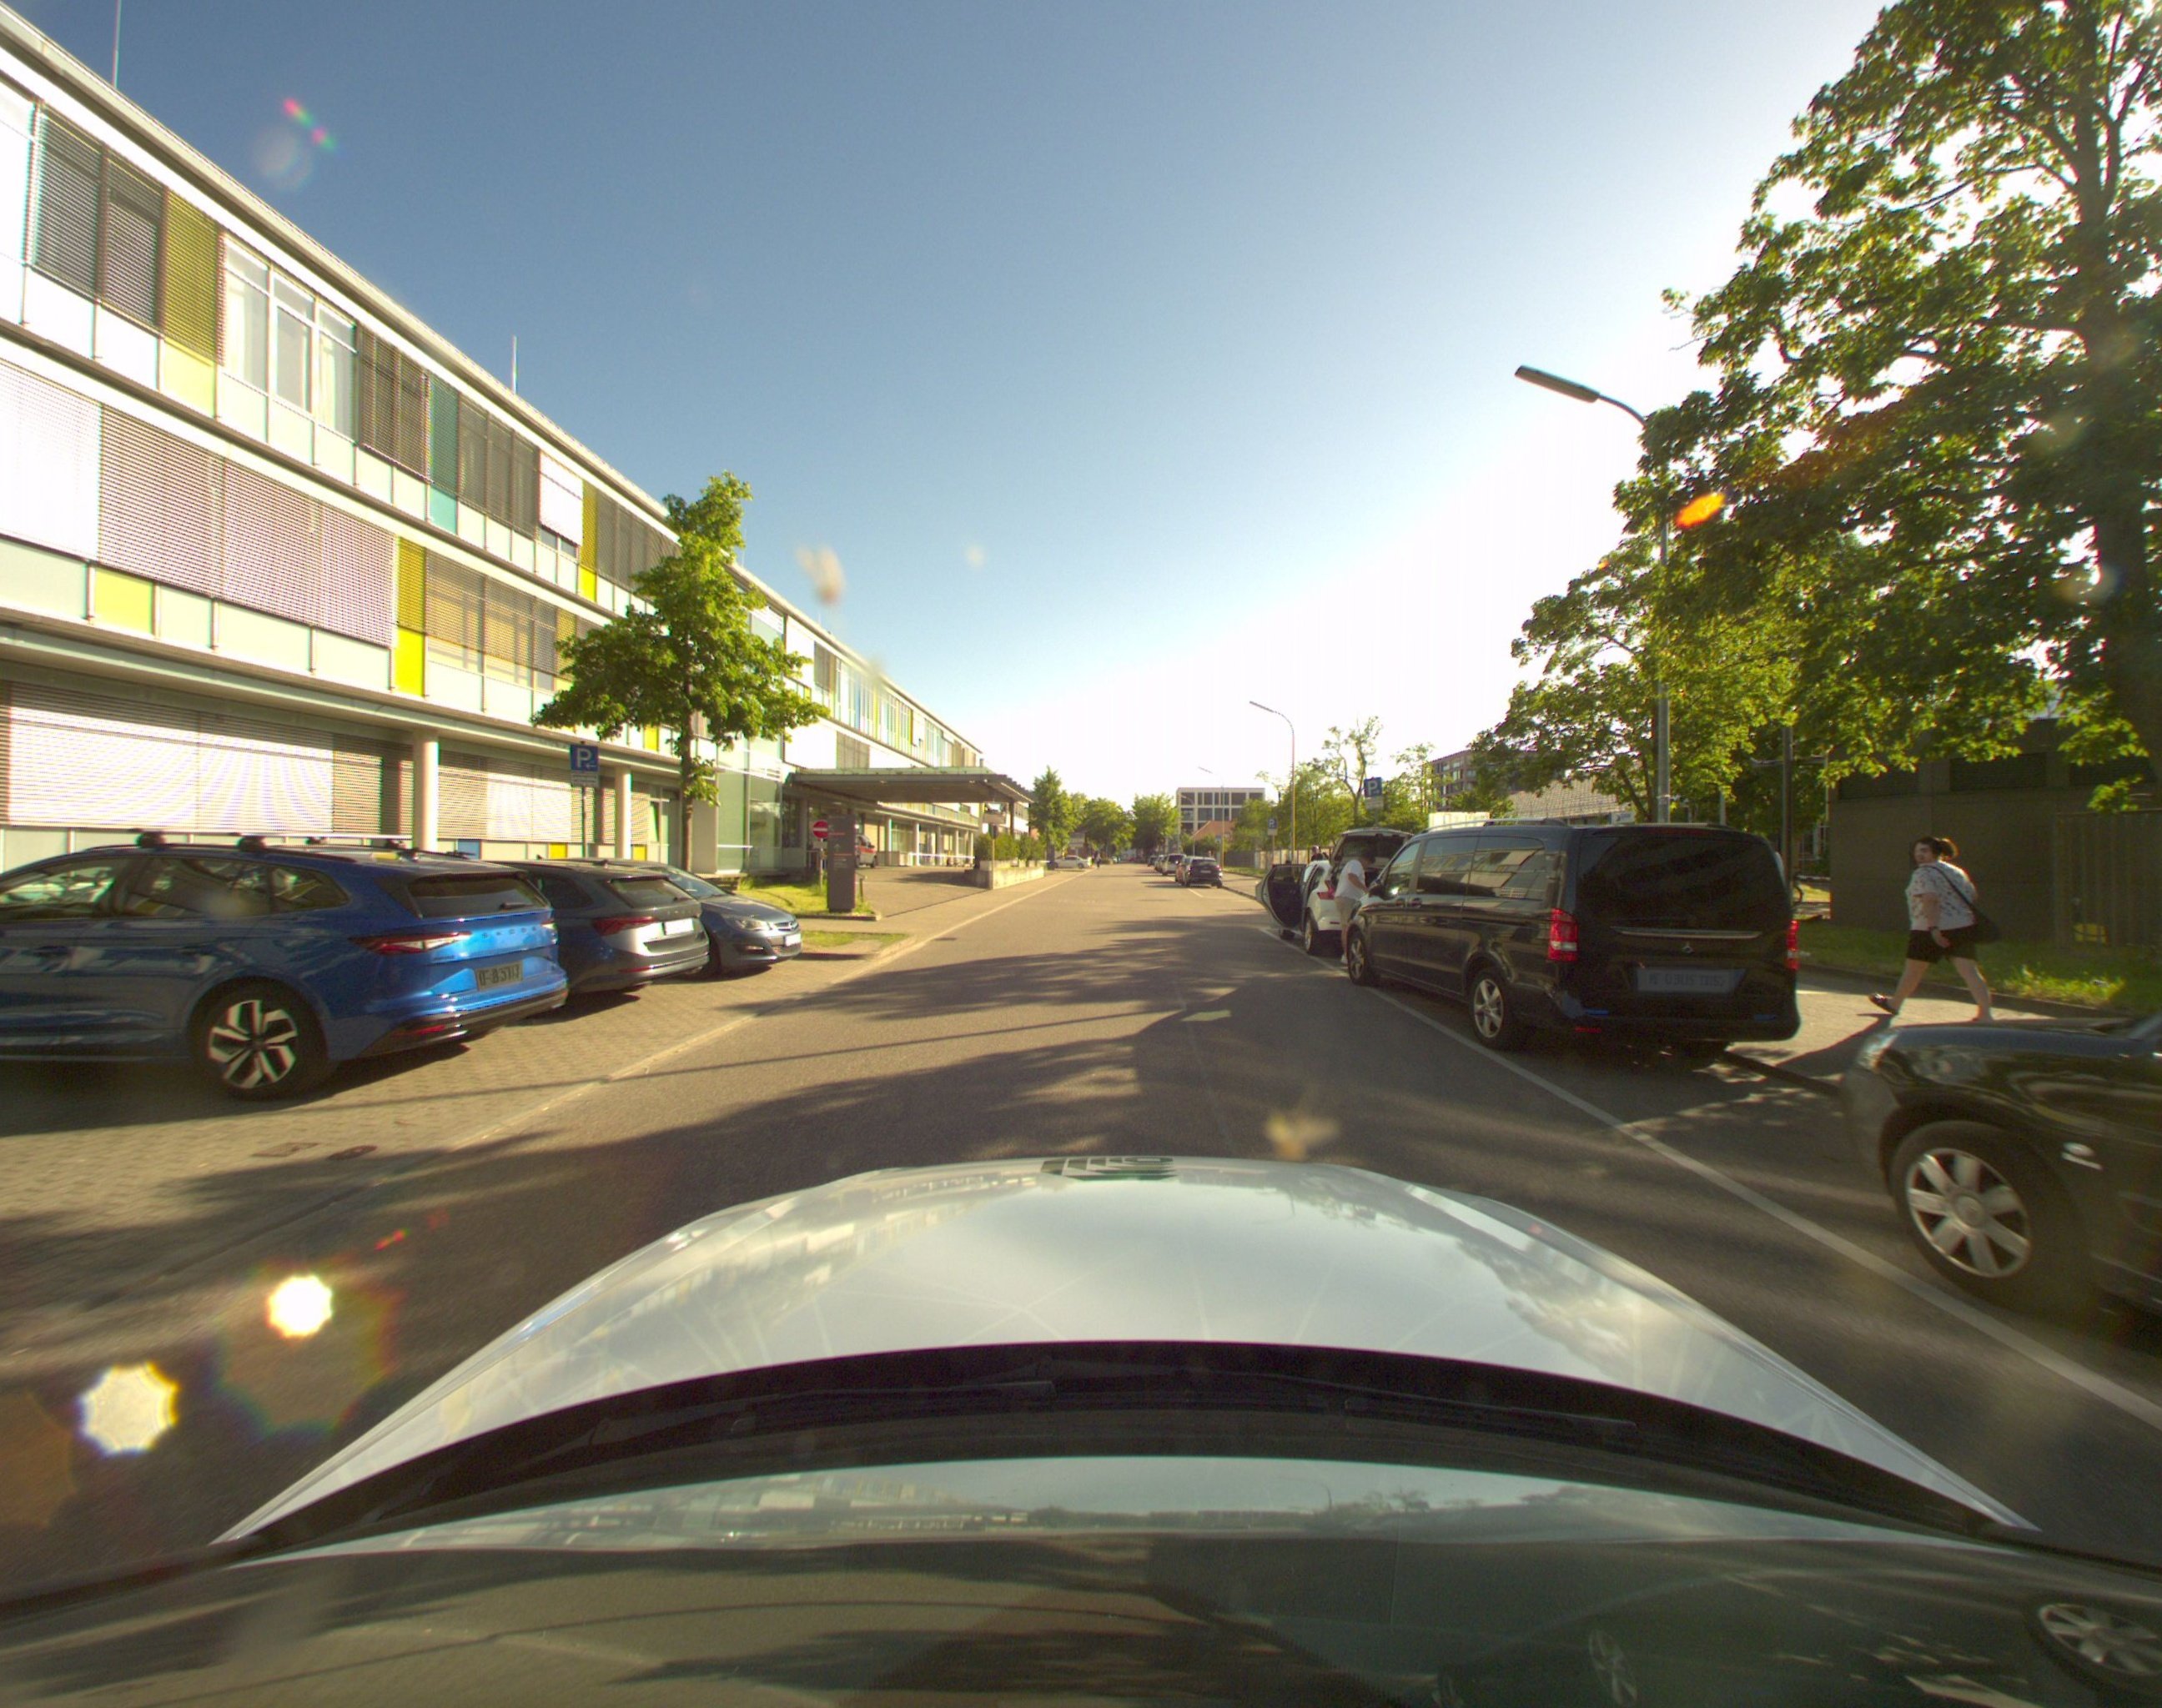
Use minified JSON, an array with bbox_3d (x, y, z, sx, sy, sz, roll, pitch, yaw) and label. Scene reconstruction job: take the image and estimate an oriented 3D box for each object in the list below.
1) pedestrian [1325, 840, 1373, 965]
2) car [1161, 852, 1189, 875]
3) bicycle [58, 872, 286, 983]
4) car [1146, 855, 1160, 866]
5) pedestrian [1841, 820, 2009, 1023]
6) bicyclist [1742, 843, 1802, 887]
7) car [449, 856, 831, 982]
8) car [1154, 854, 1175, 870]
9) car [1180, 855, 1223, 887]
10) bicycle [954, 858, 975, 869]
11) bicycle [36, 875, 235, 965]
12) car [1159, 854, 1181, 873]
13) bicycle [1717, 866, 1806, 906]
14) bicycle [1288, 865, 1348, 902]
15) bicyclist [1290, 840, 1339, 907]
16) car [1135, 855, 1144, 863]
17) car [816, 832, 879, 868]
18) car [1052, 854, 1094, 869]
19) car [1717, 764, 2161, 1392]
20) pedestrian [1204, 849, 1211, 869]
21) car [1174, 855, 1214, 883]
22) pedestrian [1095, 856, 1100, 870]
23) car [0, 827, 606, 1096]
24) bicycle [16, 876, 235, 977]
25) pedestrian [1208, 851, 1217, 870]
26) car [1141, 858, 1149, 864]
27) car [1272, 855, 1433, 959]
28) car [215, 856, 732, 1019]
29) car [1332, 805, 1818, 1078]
[{"bbox_3d":[3.938,0.684,11.935,0.583,1.746,0.708,2,0,21],"label":"pedestrian"},{"bbox_3d":[7.301,0.717,63.608,1.802,1.722,4.707,2,0,2],"label":"car"},{"bbox_3d":[-10.559,0.798,9.565,0.633,1.142,1.781,-1,0,2],"label":"bicycle"},{"bbox_3d":[10.058,0.924,113.917,1.809,1.453,4.219,0,0,4],"label":"car"},{"bbox_3d":[7.619,0.580,7.392,0.688,1.728,0.776,-1,0,2],"label":"pedestrian"},{"bbox_3d":[20.471,0.313,24.152,1.088,1.268,0.866,0,0,18],"label":"bicyclist"},{"bbox_3d":[-5.700,0.803,10.887,4.115,1.467,1.754,-1,0,1],"label":"car"},{"bbox_3d":[8.836,0.799,86.365,1.806,1.588,4.263,2,0,2],"label":"car"},{"bbox_3d":[6.067,0.828,41.389,1.694,1.487,4.217,2,0,2],"label":"car"},{"bbox_3d":[-10.132,0.845,70.932,1.708,0.994,0.536,0,0,1],"label":"bicycle"},{"bbox_3d":[-12.084,0.802,10.503,0.445,1.015,1.781,-1,0,2],"label":"bicycle"},{"bbox_3d":[7.943,0.789,72.805,1.693,1.606,4.357,2,0,4],"label":"car"},{"bbox_3d":[20.162,0.947,24.170,1.881,1.143,0.671,-1,0,18],"label":"bicycle"},{"bbox_3d":[7.427,0.908,25.497,1.892,1.008,0.694,-3,1,-32],"label":"bicycle"},{"bbox_3d":[7.271,0.594,25.398,1.056,2.013,0.950,-2,1,-32],"label":"bicyclist"},{"bbox_3d":[12.241,1.085,169.601,1.760,1.548,4.068,0,0,2],"label":"car"},{"bbox_3d":[-12.868,-0.236,45.191,1.911,1.891,4.715,0,0,3],"label":"car"},{"bbox_3d":[-0.904,0.839,89.240,4.500,1.367,1.698,3,0,-2],"label":"car"},{"bbox_3d":[3.930,0.663,1.897,1.695,1.794,4.298,2,0,3],"label":"car"},{"bbox_3d":[11.280,0.449,72.510,0.519,1.708,0.522,2,-1,1],"label":"pedestrian"},{"bbox_3d":[6.505,0.816,47.163,1.802,1.510,4.725,2,0,2],"label":"car"},{"bbox_3d":[1.886,1.014,92.075,0.536,1.524,0.608,0,0,4],"label":"pedestrian"},{"bbox_3d":[-6.234,0.662,6.059,4.206,1.651,1.960,1,0,0],"label":"car"},{"bbox_3d":[-11.101,0.797,9.563,0.425,1.015,1.781,-1,0,2],"label":"bicycle"},{"bbox_3d":[11.614,0.551,71.865,0.679,1.611,0.541,2,-1,0],"label":"pedestrian"},{"bbox_3d":[15.994,1.691,204.230,1.942,1.578,3.840,0,0,4],"label":"car"},{"bbox_3d":[4.547,0.792,14.265,1.657,1.513,4.118,2,0,4],"label":"car"},{"bbox_3d":[-5.972,0.772,8.380,3.973,1.437,1.731,1,0,0],"label":"car"},{"bbox_3d":[4.257,0.614,8.240,1.858,1.869,5.022,2,0,0],"label":"car"}]
